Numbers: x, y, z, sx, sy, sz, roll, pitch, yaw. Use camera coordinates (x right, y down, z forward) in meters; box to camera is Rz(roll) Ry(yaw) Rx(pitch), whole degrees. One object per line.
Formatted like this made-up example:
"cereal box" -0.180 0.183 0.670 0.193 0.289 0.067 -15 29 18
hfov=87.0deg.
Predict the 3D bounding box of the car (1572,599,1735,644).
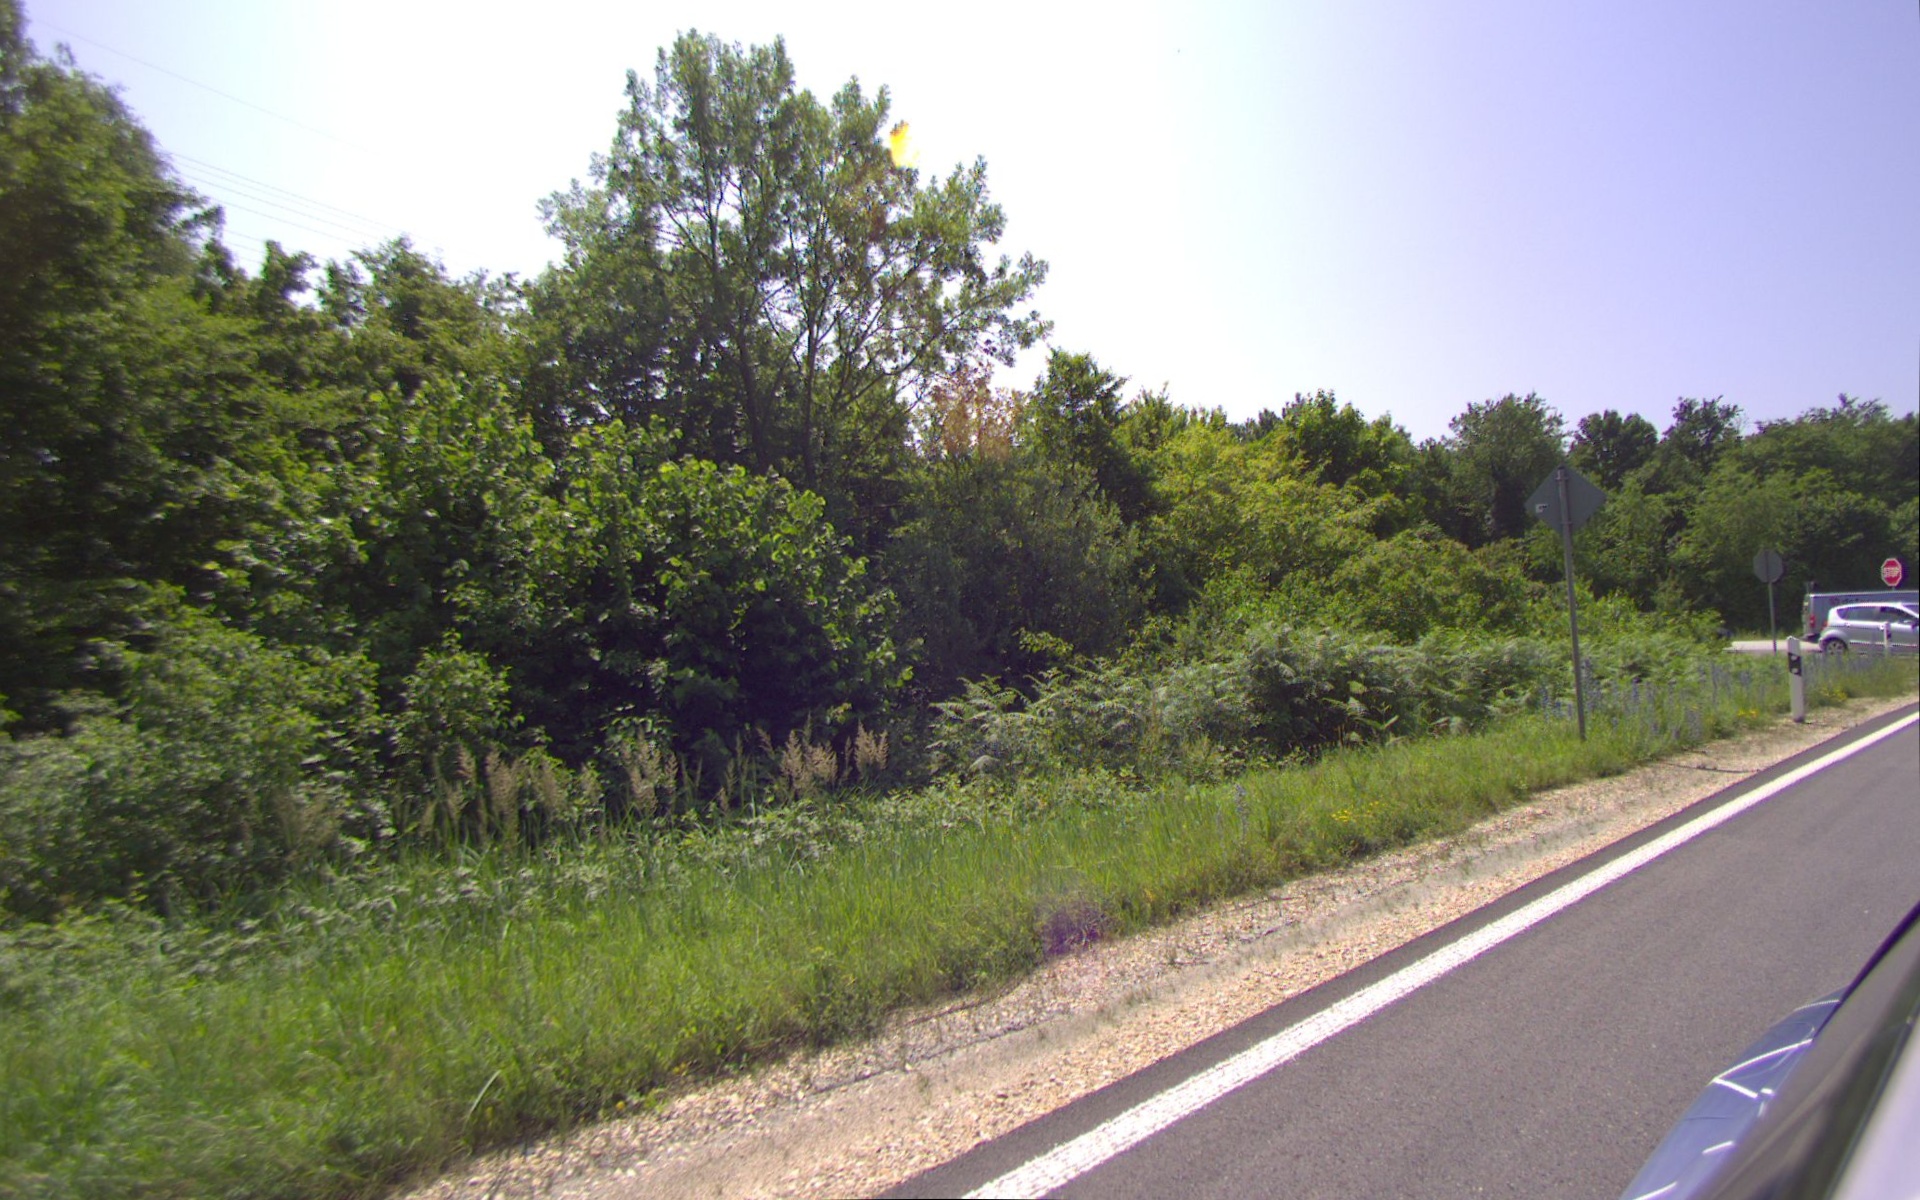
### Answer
"car" 24.223 0.720 35.579 4.524 1.493 1.849 0 0 30

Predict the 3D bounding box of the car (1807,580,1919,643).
"car" 29.932 0.337 31.570 5.197 1.930 1.988 0 1 36

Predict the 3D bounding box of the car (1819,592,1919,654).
"car" 25.729 0.613 27.011 1.807 1.600 4.001 1 0 -11
